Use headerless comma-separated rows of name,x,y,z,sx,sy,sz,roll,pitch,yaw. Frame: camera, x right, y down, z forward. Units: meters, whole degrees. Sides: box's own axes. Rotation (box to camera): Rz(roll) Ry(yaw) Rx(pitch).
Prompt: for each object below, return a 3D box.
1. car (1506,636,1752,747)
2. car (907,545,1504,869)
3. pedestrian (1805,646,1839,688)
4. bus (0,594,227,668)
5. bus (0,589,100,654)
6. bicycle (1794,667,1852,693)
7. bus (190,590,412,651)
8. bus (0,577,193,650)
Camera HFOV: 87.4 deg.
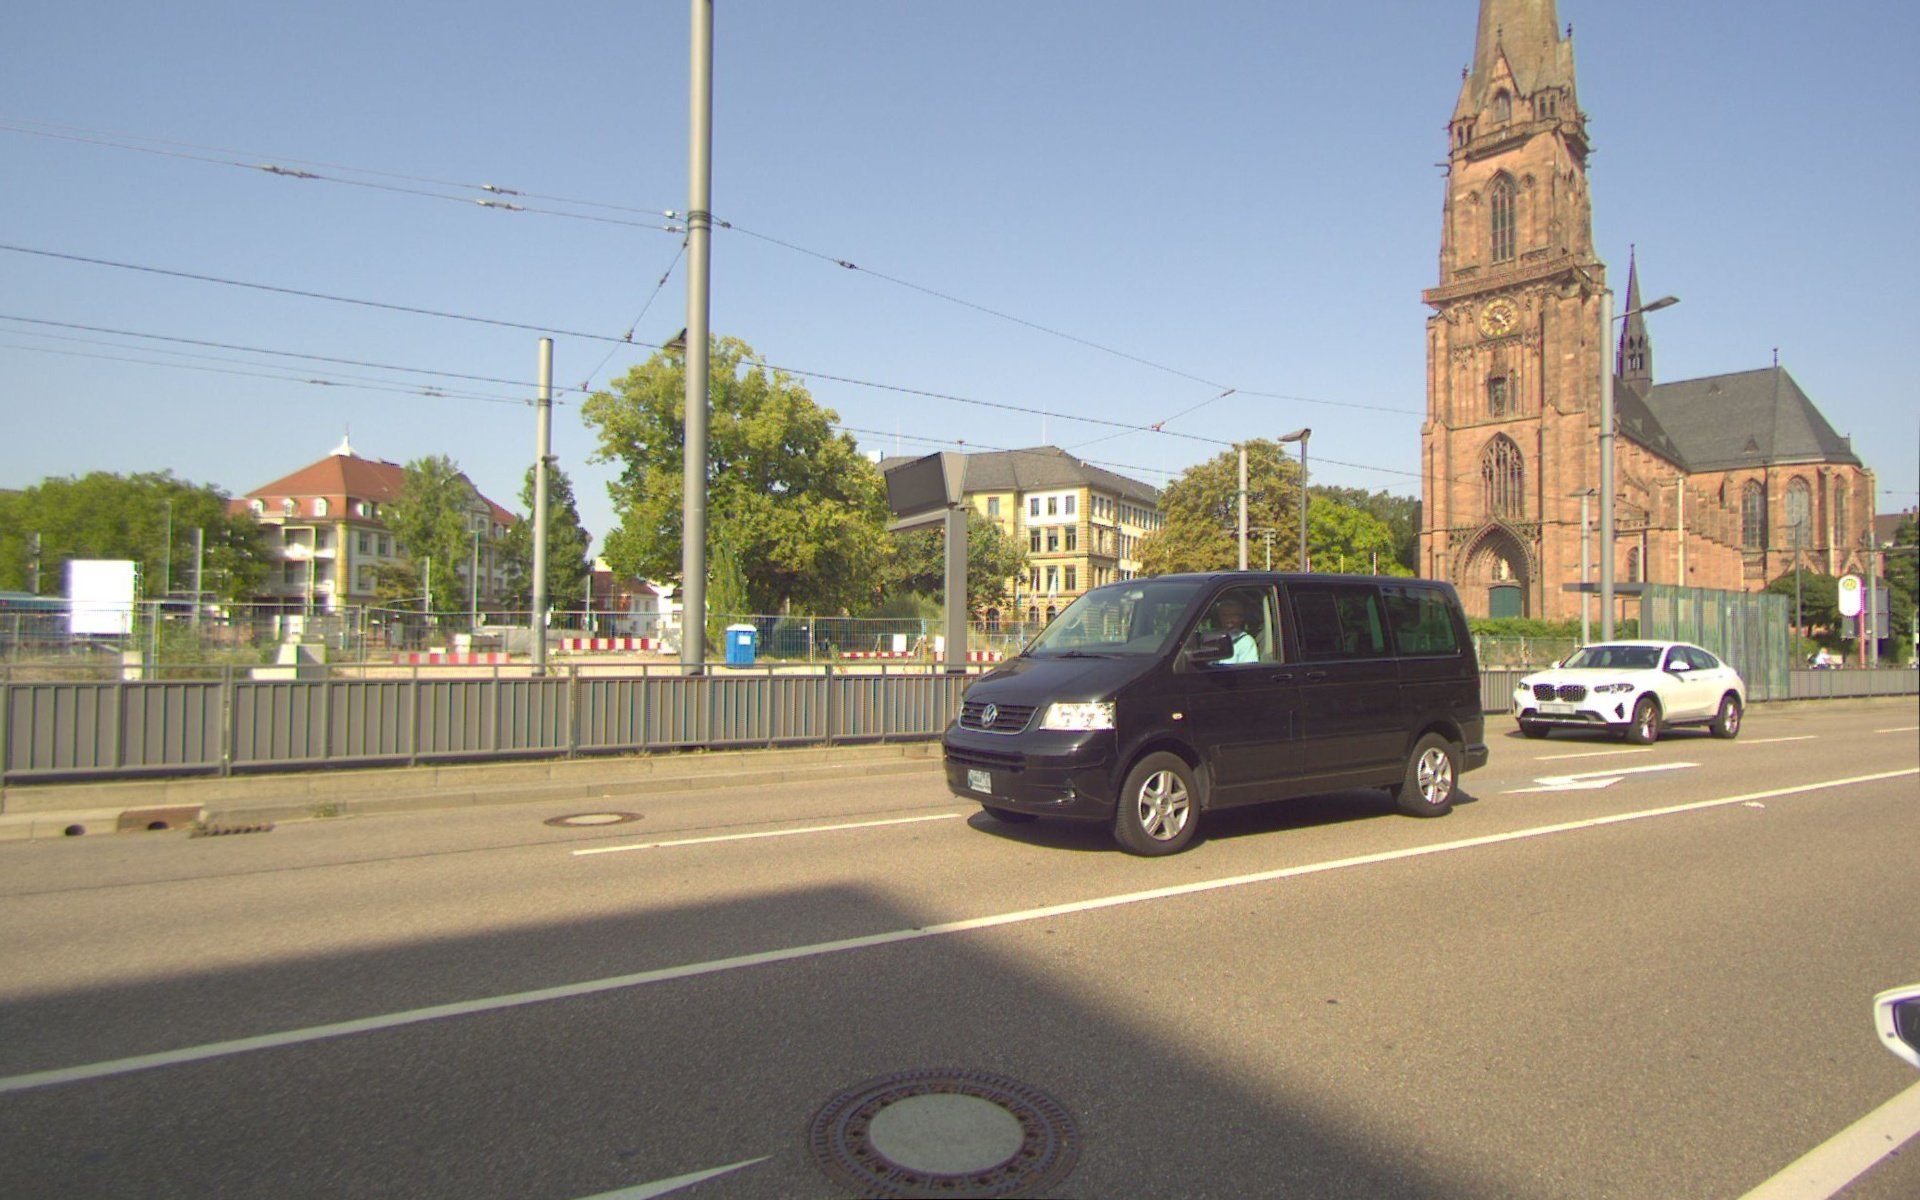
car,11.220,1.461,16.769,4.455,1.632,1.704,2,-4,-32
car,2.080,0.754,8.091,4.664,1.929,1.983,2,-4,-32
pedestrian,35.625,2.757,41.500,0.596,1.701,0.911,2,-2,-32
bus,-42.681,1.539,48.346,3.159,3.220,13.328,0,-2,10
bus,-52.880,1.078,52.091,3.160,3.463,13.328,0,-2,12
bicycle,35.625,3.298,41.473,0.474,0.991,1.749,2,-3,-32
bus,-41.045,1.443,63.612,3.160,3.463,13.328,0,-2,12
bus,-46.252,0.760,50.433,3.160,3.463,13.328,0,-2,12
